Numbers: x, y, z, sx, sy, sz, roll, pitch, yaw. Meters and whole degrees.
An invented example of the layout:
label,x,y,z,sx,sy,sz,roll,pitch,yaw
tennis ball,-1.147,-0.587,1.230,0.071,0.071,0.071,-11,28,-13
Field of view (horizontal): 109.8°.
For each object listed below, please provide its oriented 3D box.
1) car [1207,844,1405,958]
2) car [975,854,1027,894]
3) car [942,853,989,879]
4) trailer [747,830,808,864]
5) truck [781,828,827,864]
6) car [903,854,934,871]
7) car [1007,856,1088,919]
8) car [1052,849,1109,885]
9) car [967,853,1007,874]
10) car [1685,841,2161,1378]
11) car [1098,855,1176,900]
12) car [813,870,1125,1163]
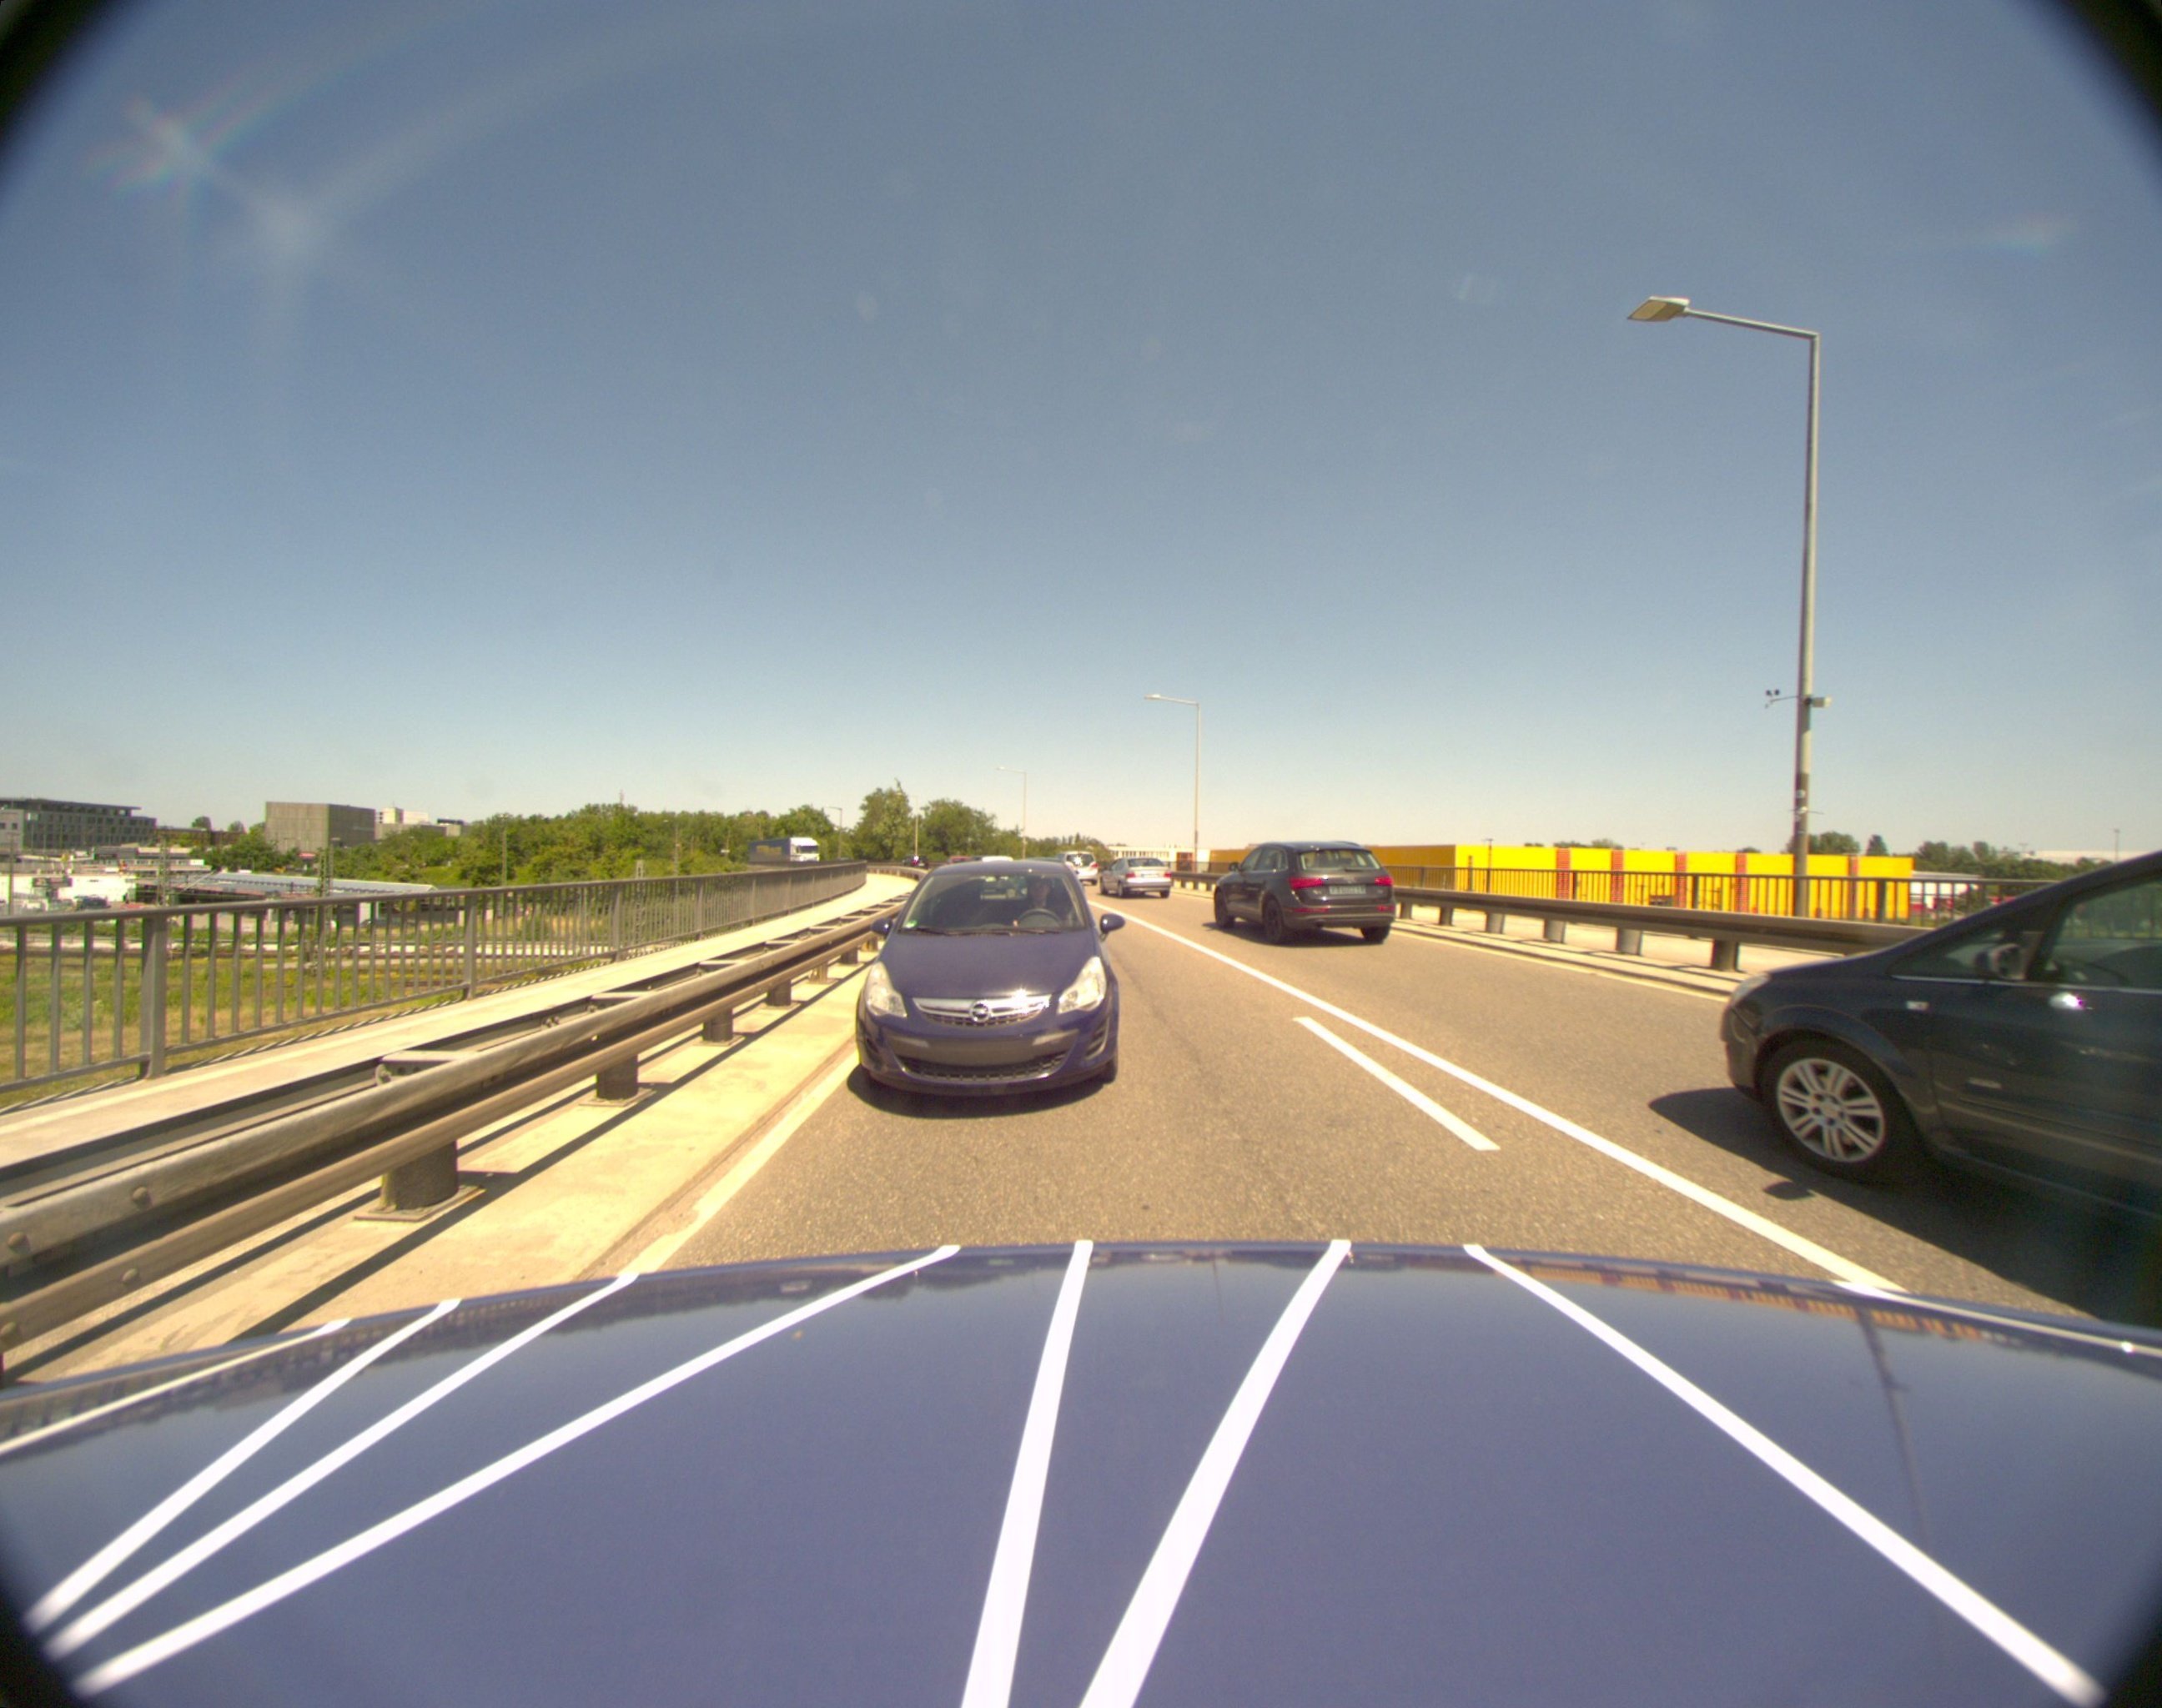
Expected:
label,x,y,z,sx,sy,sz,roll,pitch,yaw
car,3.697,0.681,13.375,1.806,1.631,4.298,-1,0,-6
car,-3.381,0.777,31.495,1.796,1.447,4.519,-2,1,-10
car,-6.985,0.681,45.460,1.797,1.446,4.514,0,0,-22
trailer,-39.843,-0.881,99.412,2.707,4.211,12.676,-3,2,-44
truck,-34.119,-0.937,93.377,2.701,4.205,6.820,-4,2,-43
car,-15.689,0.784,73.383,1.780,1.616,4.243,-1,1,-28
car,-1.009,0.808,20.578,1.795,1.447,4.520,-1,1,-7
car,-0.107,0.566,35.750,1.743,1.571,4.171,-2,1,-13
car,-6.865,0.640,54.950,1.780,1.430,4.383,-1,1,-22
car,4.140,0.767,1.911,1.711,1.617,4.251,-1,0,-3
car,1.844,0.763,26.188,1.703,1.368,3.996,-1,1,-11
car,-0.709,0.919,6.132,1.645,1.431,3.998,-2,1,-3
